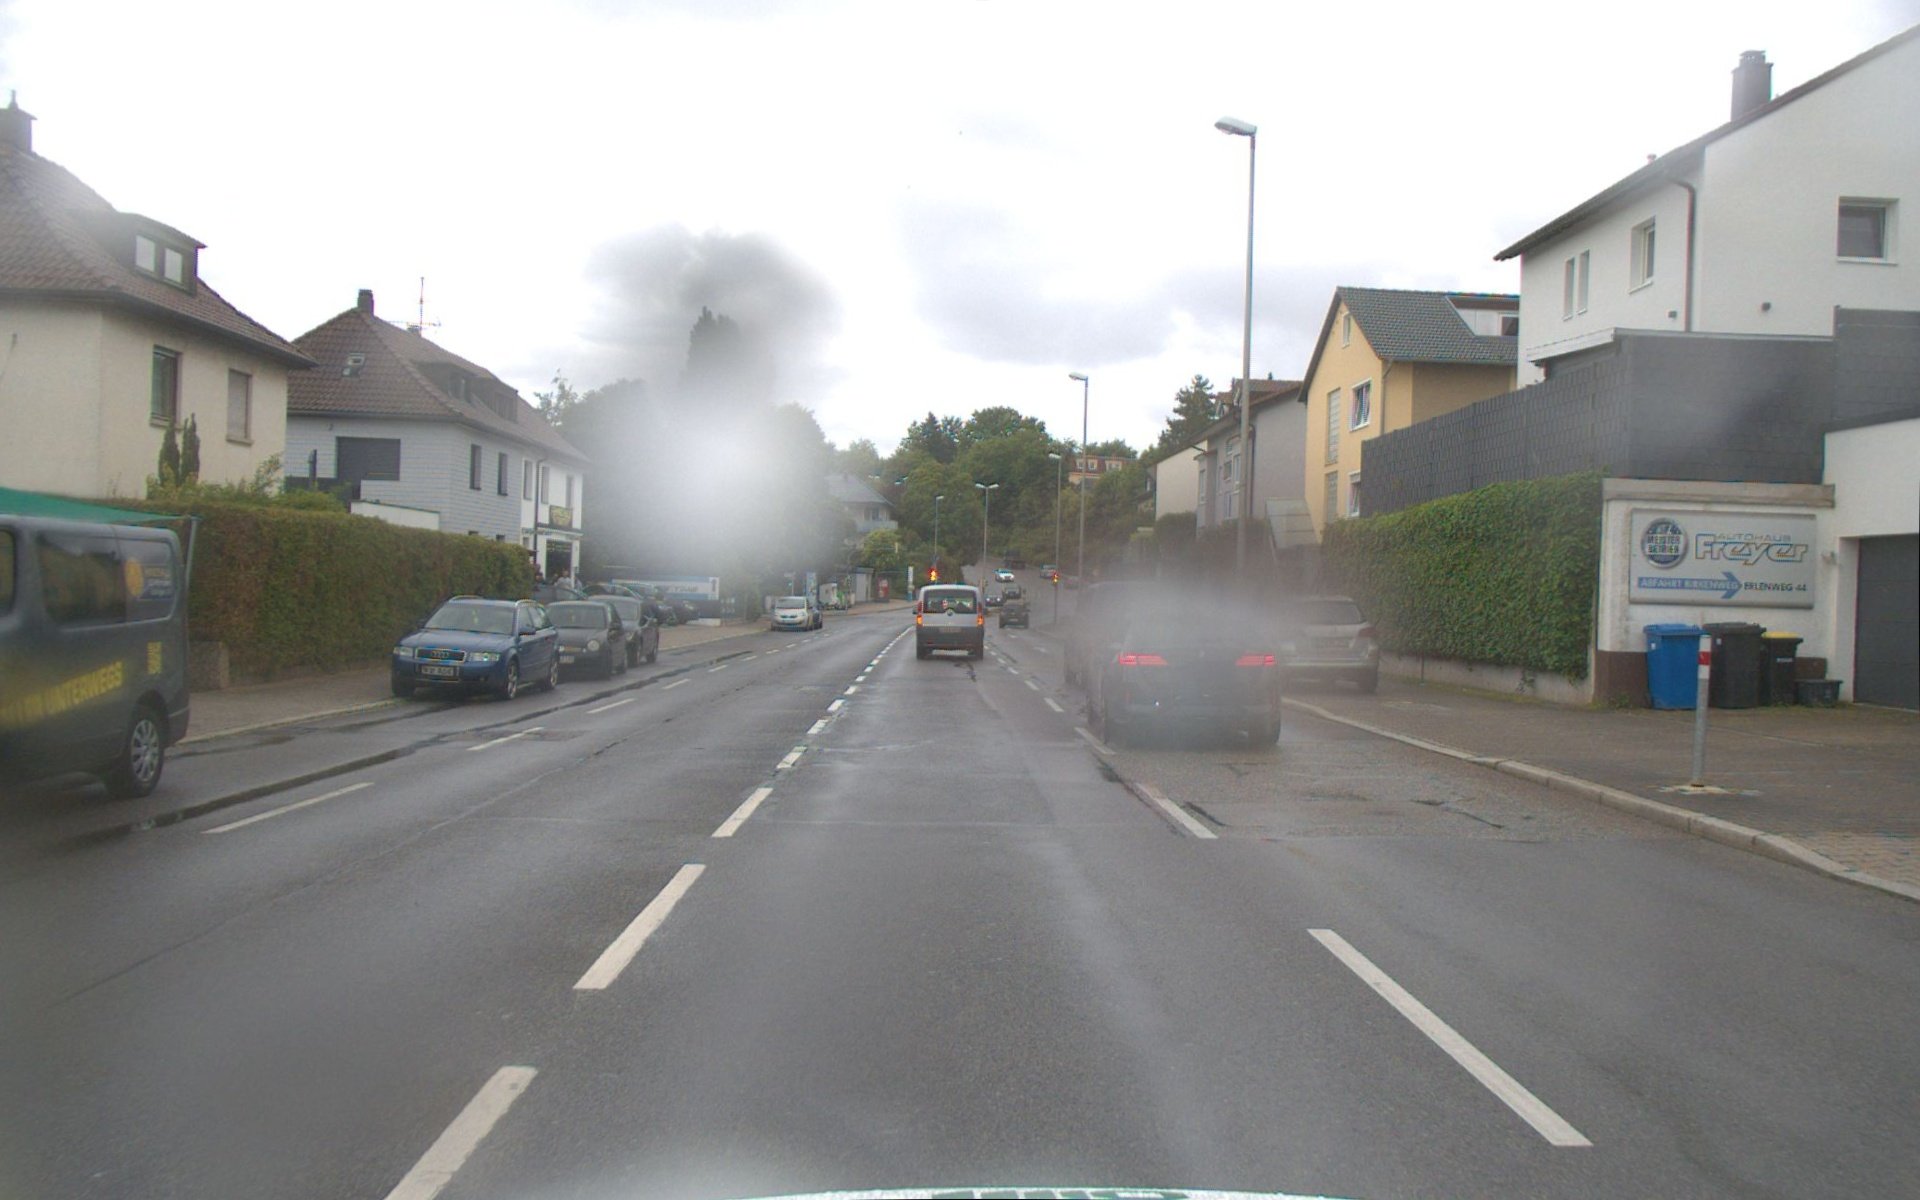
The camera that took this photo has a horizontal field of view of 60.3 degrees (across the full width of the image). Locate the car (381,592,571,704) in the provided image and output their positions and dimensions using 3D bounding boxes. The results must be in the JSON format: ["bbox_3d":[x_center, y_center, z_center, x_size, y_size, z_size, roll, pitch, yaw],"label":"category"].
[{"bbox_3d":[-7.379,0.692,25.637,1.721,1.559,4.285,1,0,-1],"label":"car"}]

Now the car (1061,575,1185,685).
[{"bbox_3d":[2.868,0.513,29.845,1.801,1.798,4.000,1,0,0],"label":"car"}]

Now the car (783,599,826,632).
[{"bbox_3d":[-7.956,0.806,85.009,1.846,1.613,3.999,1,0,0],"label":"car"}]

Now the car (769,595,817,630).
[{"bbox_3d":[-7.869,0.583,78.347,1.846,1.613,3.999,1,0,0],"label":"car"}]

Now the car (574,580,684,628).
[{"bbox_3d":[-13.393,0.165,67.034,3.991,1.542,1.855,5,0,-1],"label":"car"}]

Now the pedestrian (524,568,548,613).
[{"bbox_3d":[-16.270,-0.363,63.434,0.588,1.694,0.650,4,0,4],"label":"pedestrian"}]

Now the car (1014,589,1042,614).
[{"bbox_3d":[6.676,0.137,163.515,2.470,2.048,5.609,2,3,0],"label":"car"}]

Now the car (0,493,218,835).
[{"bbox_3d":[-6.676,0.367,10.420,1.874,2.038,5.084,1,0,-3],"label":"car"}]

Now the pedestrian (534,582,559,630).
[{"bbox_3d":[-15.189,0.216,60.733,0.588,1.694,0.650,4,0,4],"label":"pedestrian"}]

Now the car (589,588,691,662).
[{"bbox_3d":[-7.185,0.538,37.475,1.722,1.559,4.205,1,0,-4],"label":"car"}]

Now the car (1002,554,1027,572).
[{"bbox_3d":[7.469,-5.122,227.460,2.474,2.047,5.602,2,4,-8],"label":"car"}]

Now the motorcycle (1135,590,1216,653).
[{"bbox_3d":[5.271,0.516,40.563,0.751,1.476,2.062,2,0,-36],"label":"motorcycle"}]

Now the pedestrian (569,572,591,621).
[{"bbox_3d":[-14.418,-0.148,62.756,0.589,1.822,0.649,4,0,-6],"label":"pedestrian"}]

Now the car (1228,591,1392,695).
[{"bbox_3d":[5.655,0.658,27.251,1.666,1.536,4.533,1,0,-1],"label":"car"}]

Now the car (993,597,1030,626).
[{"bbox_3d":[2.966,0.647,96.604,1.953,1.606,3.999,0,0,-1],"label":"car"}]

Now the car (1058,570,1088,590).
[{"bbox_3d":[13.134,-2.402,192.936,2.473,2.048,5.602,1,3,-6],"label":"car"}]

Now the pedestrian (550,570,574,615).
[{"bbox_3d":[-15.198,-0.279,63.207,0.588,1.694,0.650,4,0,7],"label":"pedestrian"}]

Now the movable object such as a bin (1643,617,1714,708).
[{"bbox_3d":[9.185,0.788,21.154,0.583,1.124,0.667,-2,0,-1],"label":"movable object such as a bin"}]

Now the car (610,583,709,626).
[{"bbox_3d":[-13.484,0.205,74.287,3.991,1.542,1.855,5,0,-1],"label":"car"}]

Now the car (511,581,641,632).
[{"bbox_3d":[-13.181,0.231,56.983,3.990,1.542,1.855,2,0,-1],"label":"car"}]

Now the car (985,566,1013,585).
[{"bbox_3d":[4.817,-3.076,205.186,2.476,2.048,5.597,1,3,-10],"label":"car"}]

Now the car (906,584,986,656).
[{"bbox_3d":[-0.359,0.514,43.340,1.953,1.768,4.000,1,0,0],"label":"car"}]

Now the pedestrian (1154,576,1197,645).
[{"bbox_3d":[5.279,0.251,40.573,0.616,1.678,0.821,2,-1,-37],"label":"pedestrian"}]

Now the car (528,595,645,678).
[{"bbox_3d":[-7.091,0.663,31.704,1.520,1.456,4.012,1,0,-4],"label":"car"}]

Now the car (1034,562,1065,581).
[{"bbox_3d":[11.434,-3.678,211.304,2.477,2.047,5.595,1,4,-12],"label":"car"}]

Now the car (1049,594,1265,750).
[{"bbox_3d":[2.060,0.722,18.384,1.952,1.510,4.000,1,0,1],"label":"car"}]

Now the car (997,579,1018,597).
[{"bbox_3d":[5.006,-1.270,174.701,1.953,1.803,4.000,-1,1,-1],"label":"car"}]
